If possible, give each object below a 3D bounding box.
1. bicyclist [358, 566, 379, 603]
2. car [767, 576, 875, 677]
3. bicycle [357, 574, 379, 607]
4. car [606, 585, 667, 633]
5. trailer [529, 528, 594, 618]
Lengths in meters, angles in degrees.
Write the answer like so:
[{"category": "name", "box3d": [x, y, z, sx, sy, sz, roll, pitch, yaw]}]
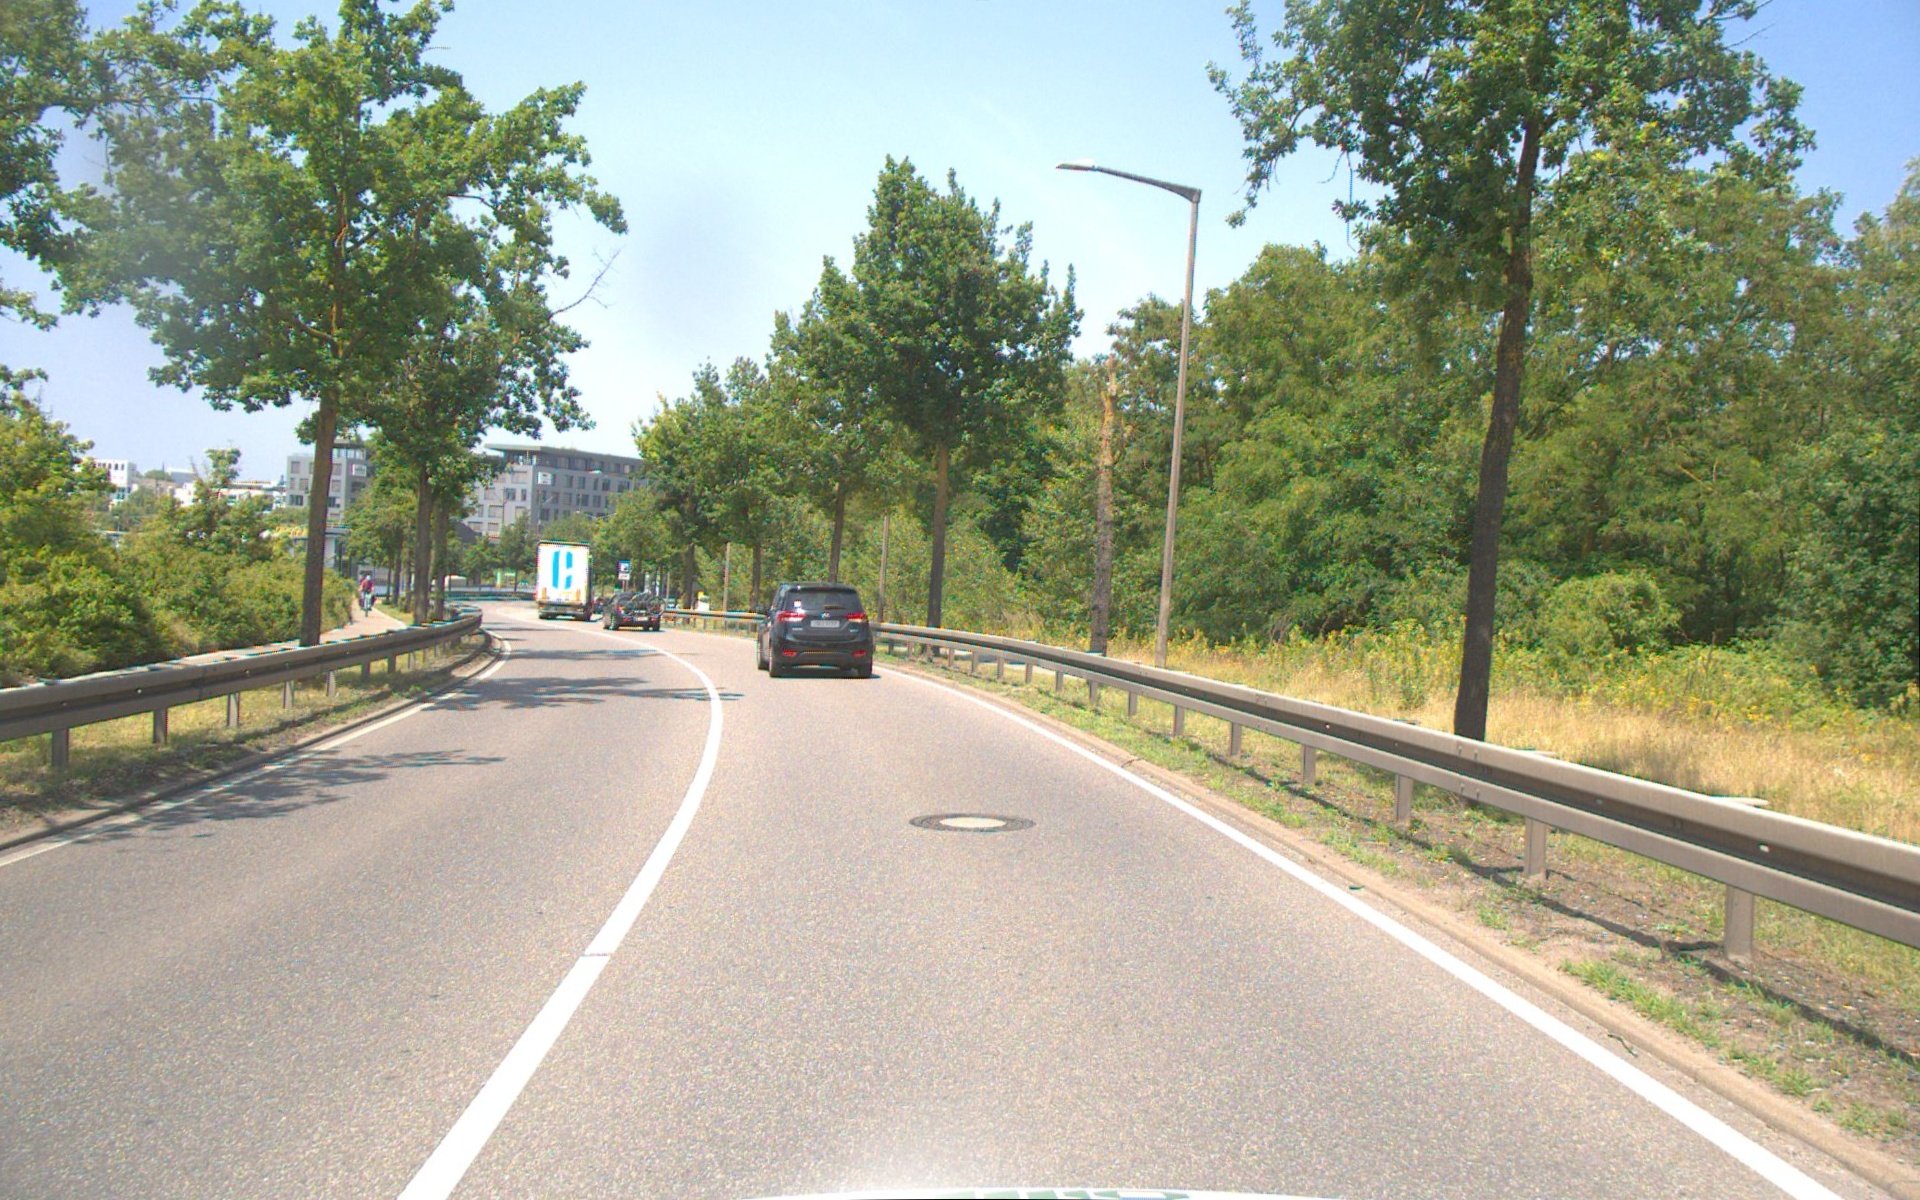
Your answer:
[{"category": "bicyclist", "box3d": [-24.549, -0.642, 68.613, 0.731, 1.515, 0.751, 2, -1, -23]}, {"category": "car", "box3d": [-2.385, 0.409, 29.194, 1.732, 1.627, 4.076, 0, 1, -3]}, {"category": "bicycle", "box3d": [-24.565, -0.401, 68.612, 0.724, 1.304, 2.032, 2, 0, -22]}, {"category": "car", "box3d": [-12.064, 0.311, 61.425, 1.924, 1.662, 4.263, 2, -1, -15]}, {"category": "trailer", "box3d": [-22.150, -1.570, 92.391, 3.025, 4.444, 14.727, 3, 1, -13]}]
